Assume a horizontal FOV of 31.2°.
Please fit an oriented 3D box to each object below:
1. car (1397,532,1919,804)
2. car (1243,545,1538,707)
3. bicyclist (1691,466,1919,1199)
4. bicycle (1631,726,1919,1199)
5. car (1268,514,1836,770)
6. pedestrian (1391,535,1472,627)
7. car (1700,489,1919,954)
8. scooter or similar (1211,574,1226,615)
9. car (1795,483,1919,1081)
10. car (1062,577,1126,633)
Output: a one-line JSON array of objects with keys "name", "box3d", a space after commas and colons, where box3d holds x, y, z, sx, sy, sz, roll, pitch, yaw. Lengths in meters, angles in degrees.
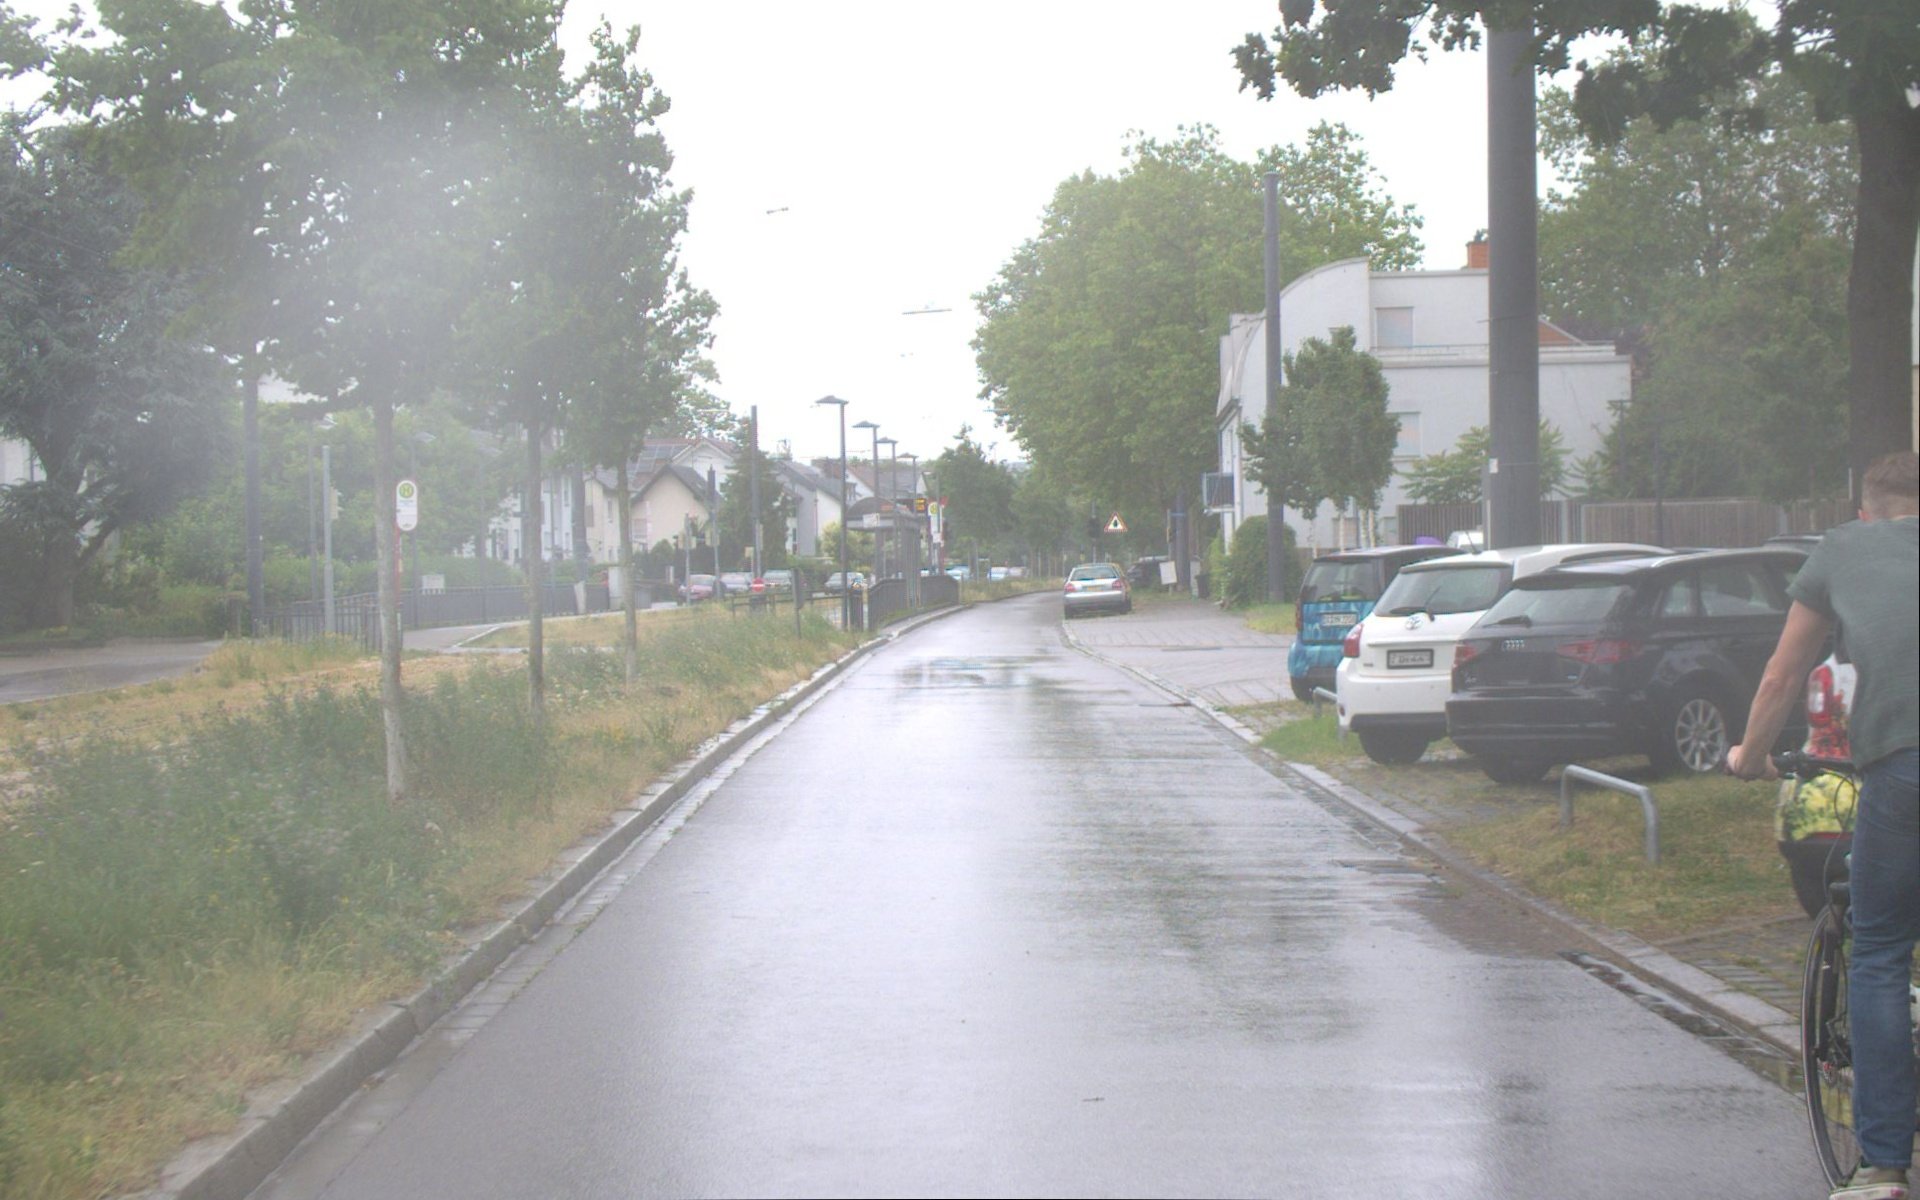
[{"name": "car", "box3d": [4.878, 0.380, 22.230, 3.933, 1.426, 1.684, -5, 2, -37]}, {"name": "car", "box3d": [4.354, 0.254, 34.715, 2.558, 1.543, 1.602, -1, 0, -40]}, {"name": "bicyclist", "box3d": [1.949, 0.510, 7.353, 0.534, 1.554, 0.772, 0, -1, -6]}, {"name": "bicycle", "box3d": [1.956, 0.841, 7.256, 0.536, 1.089, 1.949, 0, 0, -5]}, {"name": "car", "box3d": [4.427, 0.270, 25.395, 4.174, 1.542, 1.764, -5, 2, -40]}, {"name": "pedestrian", "box3d": [7.829, -0.312, 57.078, 0.835, 1.512, 1.095, 0, -1, -29]}, {"name": "car", "box3d": [5.057, 0.319, 13.771, 4.173, 1.666, 1.684, -5, 2, -37]}, {"name": "scooter or similar", "box3d": [7.040, -0.147, 93.533, 0.333, 1.081, 1.395, 0, -1, 7]}, {"name": "car", "box3d": [4.725, 0.362, 10.554, 4.448, 1.666, 1.812, -5, 2, -39]}, {"name": "car", "box3d": [3.736, 0.150, 95.485, 1.650, 1.400, 4.649, -4, -1, 3]}]
